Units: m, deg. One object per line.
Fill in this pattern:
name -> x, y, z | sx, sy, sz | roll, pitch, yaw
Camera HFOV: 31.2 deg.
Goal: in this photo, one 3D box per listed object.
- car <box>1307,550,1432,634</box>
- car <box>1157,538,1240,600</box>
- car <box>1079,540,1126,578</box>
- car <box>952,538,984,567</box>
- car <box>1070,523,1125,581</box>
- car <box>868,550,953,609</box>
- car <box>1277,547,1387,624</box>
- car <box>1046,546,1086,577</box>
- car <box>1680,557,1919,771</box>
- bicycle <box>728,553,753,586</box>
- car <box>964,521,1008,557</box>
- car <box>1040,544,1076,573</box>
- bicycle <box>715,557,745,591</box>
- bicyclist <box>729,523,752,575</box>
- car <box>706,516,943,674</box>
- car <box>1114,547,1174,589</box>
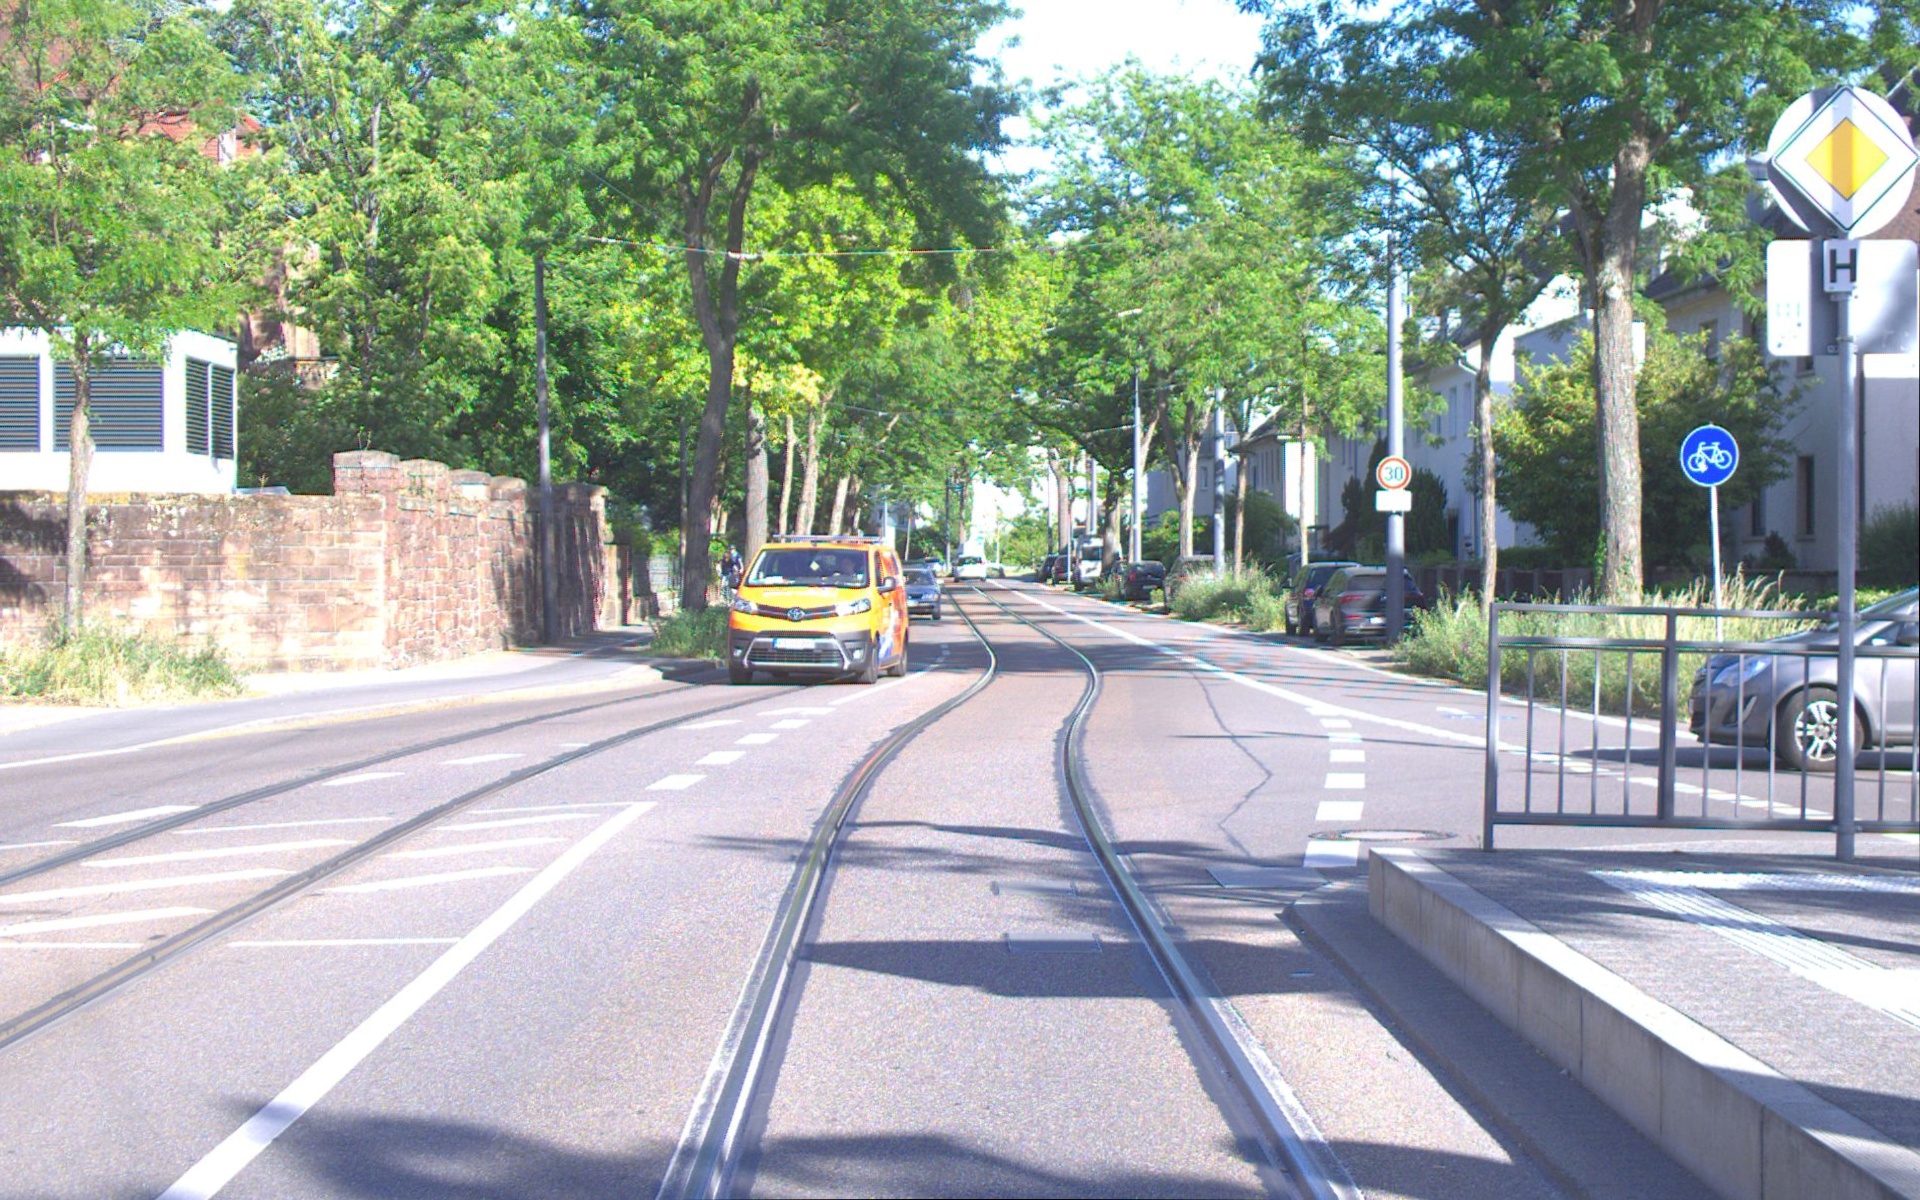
car -> 7.603, -0.179, 64.165 | 1.748, 1.490, 4.443 | -1, 1, -1
car -> 7.100, -0.936, 102.785 | 1.993, 1.698, 4.478 | -3, 1, -1
car -> 5.741, -1.661, 138.675 | 1.627, 1.393, 3.646 | -3, 1, -1
car -> 0.463, -2.813, 203.149 | 1.866, 1.669, 4.173 | -1, 1, 0
car -> 6.401, -2.258, 160.243 | 2.245, 2.645, 5.585 | 0, 1, -1
car -> -1.304, -0.568, 92.431 | 1.994, 1.519, 4.579 | 0, 1, 3
car -> 7.559, -0.322, 70.198 | 1.748, 1.490, 3.997 | -1, 1, -1
car -> 5.920, -2.174, 192.369 | 2.003, 1.669, 4.392 | -2, 1, -1
car -> 7.358, 0.448, 25.167 | 3.988, 1.503, 1.981 | 0, 1, 10
bicycle -> -6.479, -0.898, 101.532 | 0.589, 0.957, 2.132 | 0, 1, 0
car -> 1.819, -4.225, 238.668 | 1.993, 2.450, 4.510 | -1, 1, -13
car -> 5.973, -2.531, 209.791 | 2.003, 1.669, 4.392 | -2, 1, 3
bicycle -> -6.510, -0.744, 97.330 | 0.711, 0.957, 2.094 | 0, 1, 0
bicyclist -> -6.483, -1.499, 101.500 | 0.593, 1.522, 1.061 | 0, 1, 0
car -> -1.717, -0.100, 45.430 | 1.994, 1.959, 4.931 | 0, 1, 12
car -> 6.899, -1.204, 129.066 | 1.784, 1.443, 4.301 | -3, 1, -2
